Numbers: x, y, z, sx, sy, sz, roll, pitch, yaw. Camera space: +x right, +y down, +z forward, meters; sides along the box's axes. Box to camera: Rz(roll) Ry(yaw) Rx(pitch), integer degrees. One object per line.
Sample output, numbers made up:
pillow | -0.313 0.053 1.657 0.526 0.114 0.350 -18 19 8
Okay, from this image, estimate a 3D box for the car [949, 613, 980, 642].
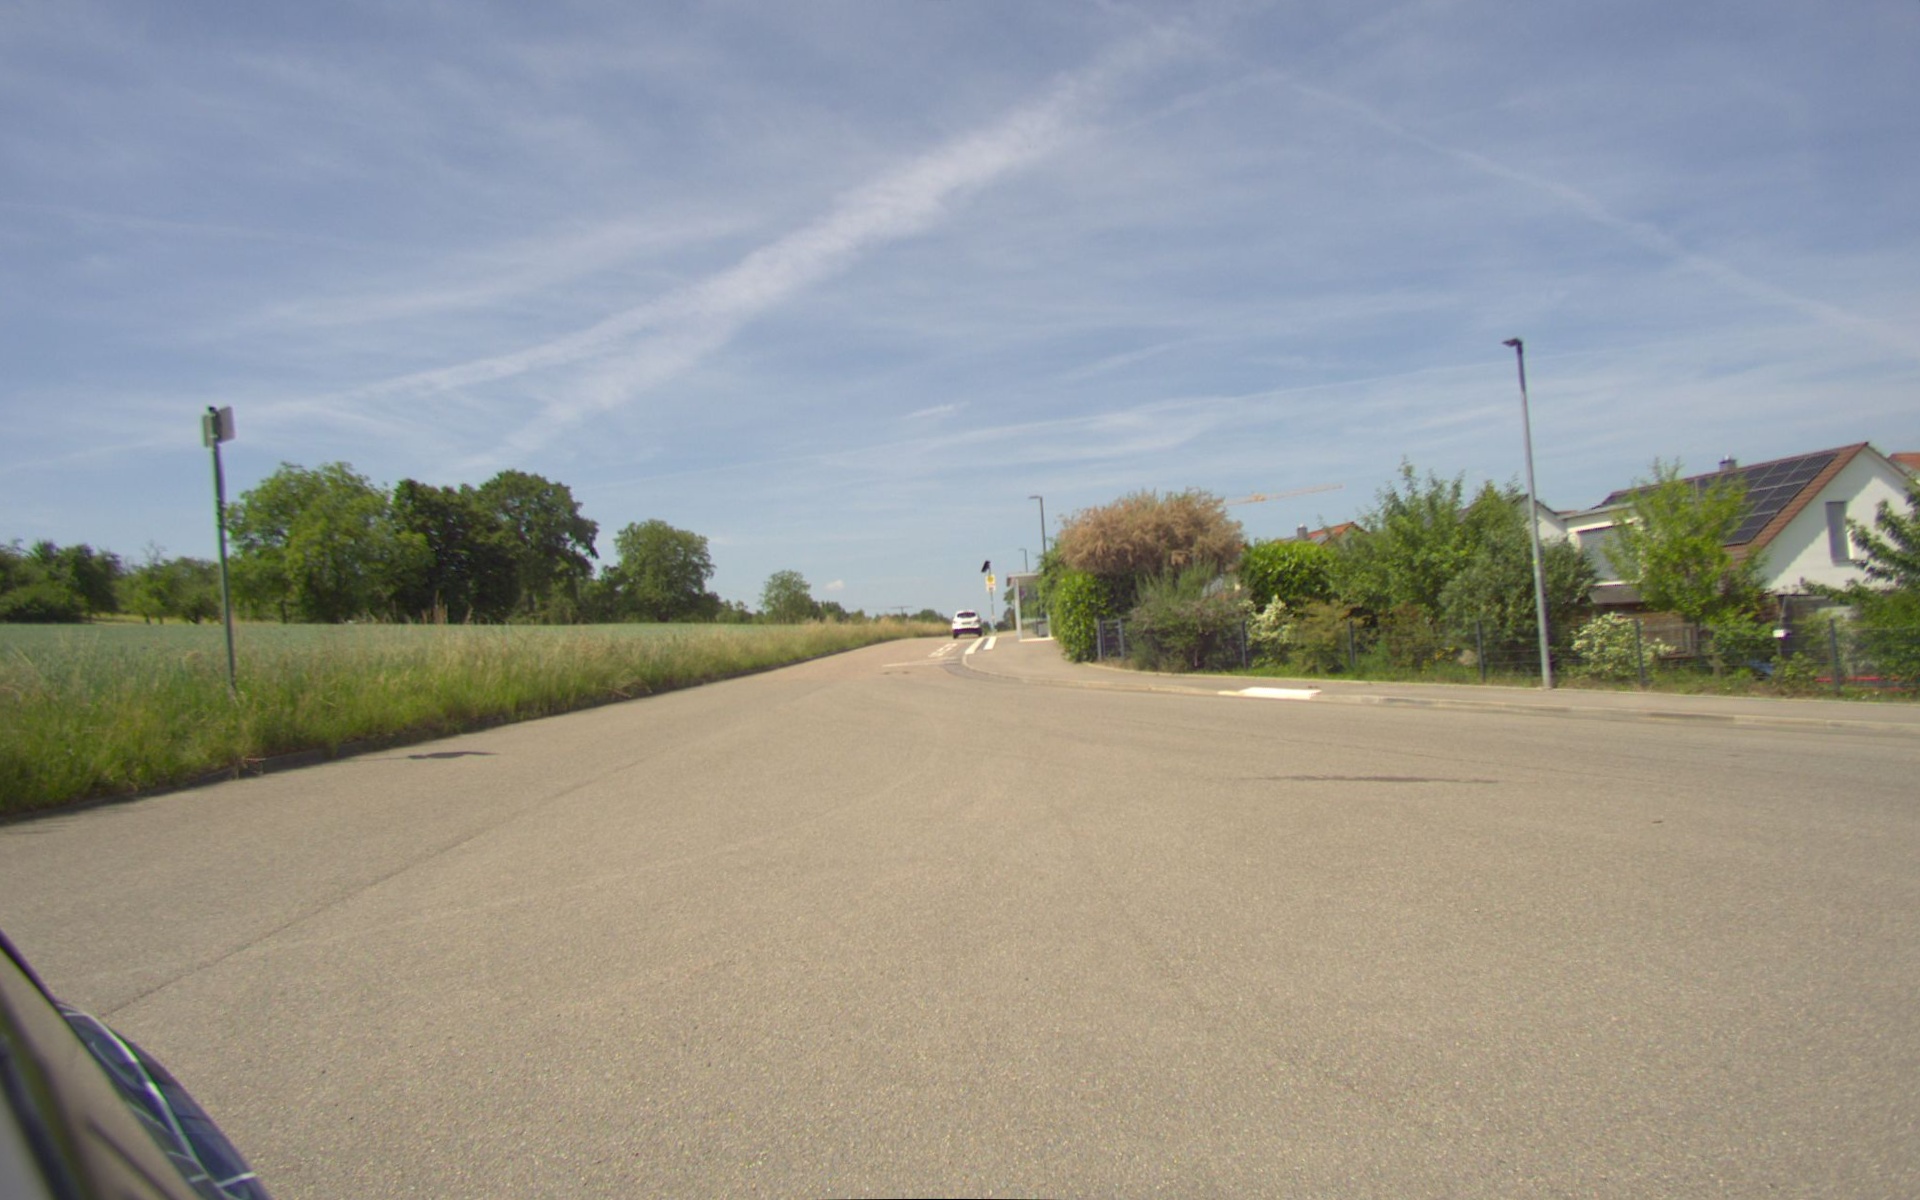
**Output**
car | 0.325 1.663 62.138 1.716 1.645 4.349 -3 -1 2
